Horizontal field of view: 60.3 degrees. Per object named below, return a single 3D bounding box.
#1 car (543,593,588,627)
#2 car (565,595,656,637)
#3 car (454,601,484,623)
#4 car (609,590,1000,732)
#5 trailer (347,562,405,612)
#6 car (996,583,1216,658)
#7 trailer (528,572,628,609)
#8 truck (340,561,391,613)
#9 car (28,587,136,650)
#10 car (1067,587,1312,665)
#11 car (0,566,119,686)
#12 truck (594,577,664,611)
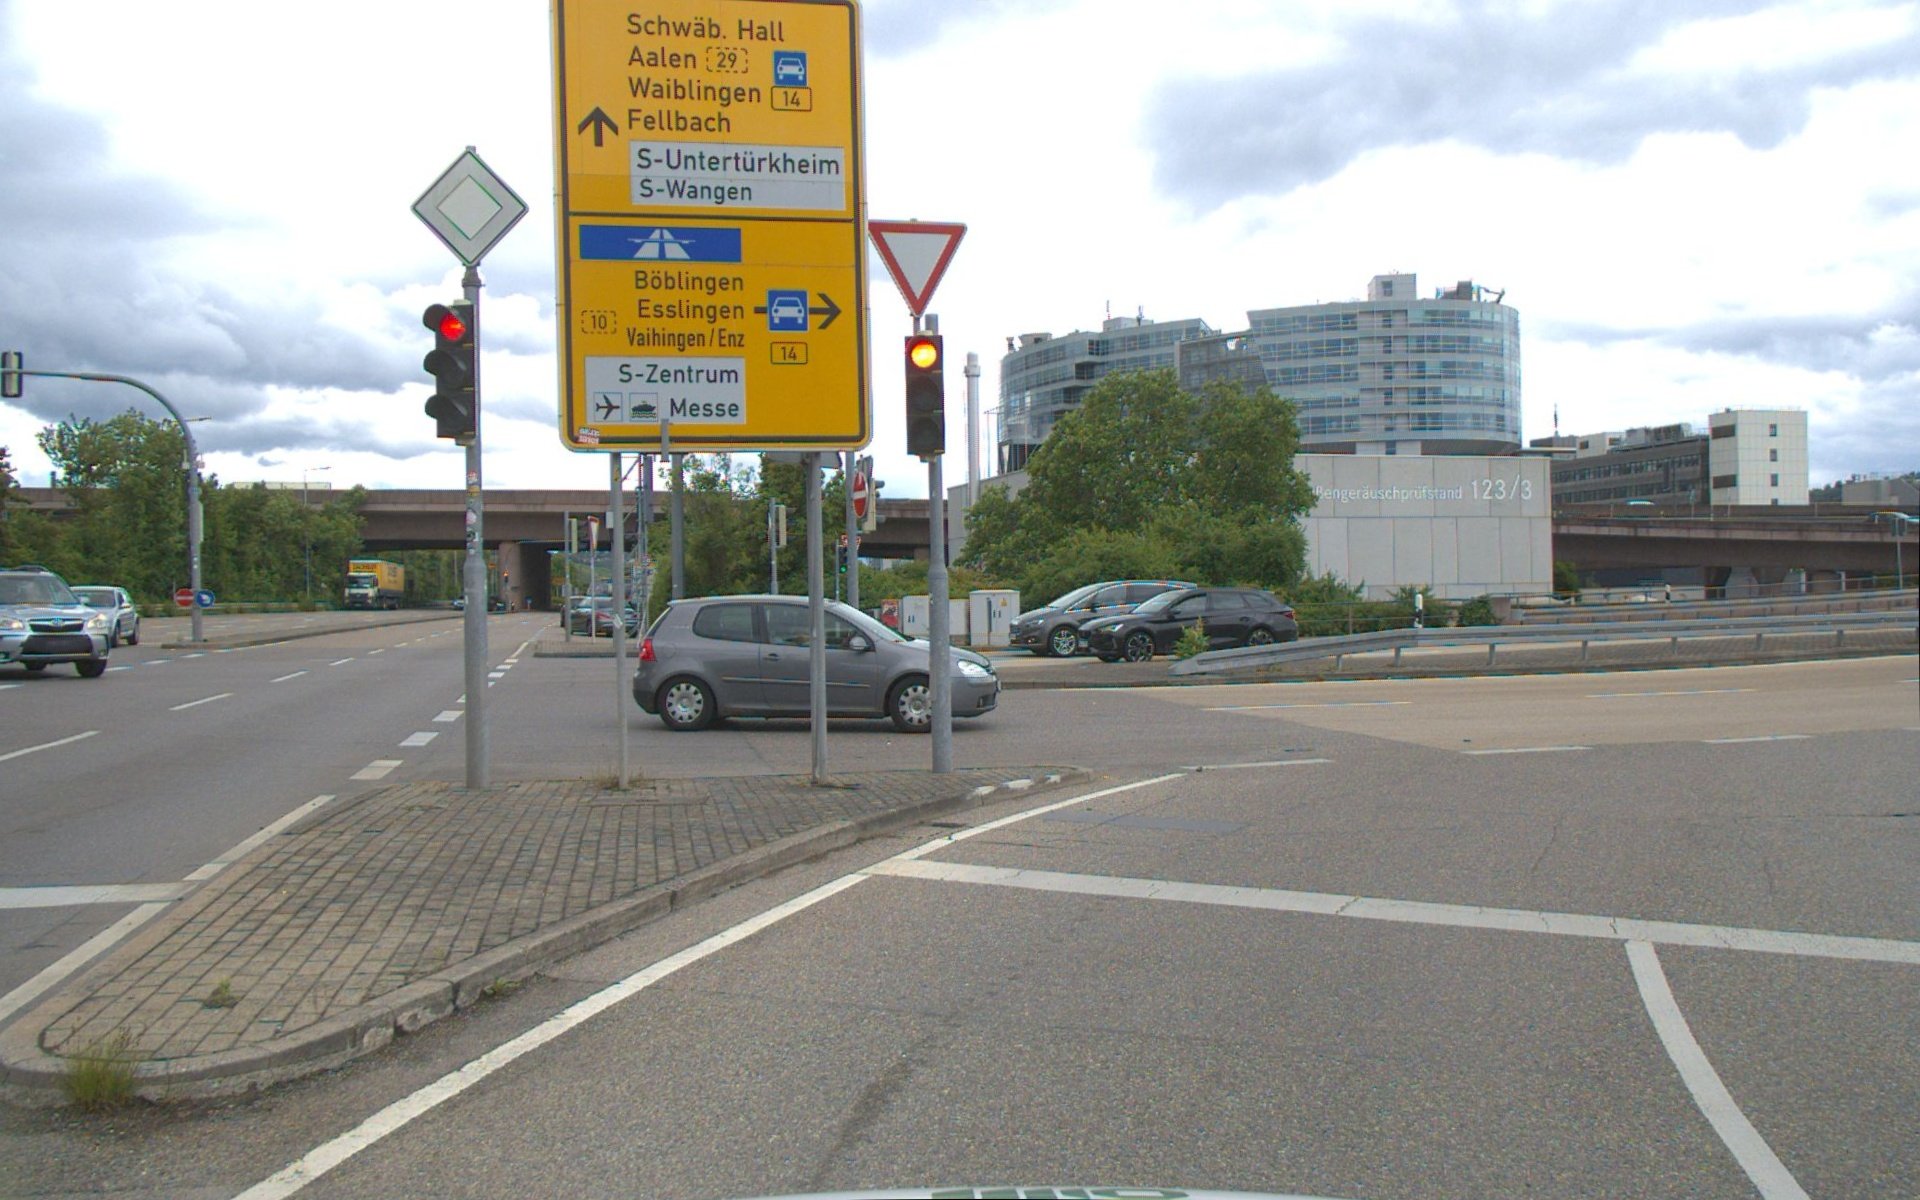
[{"bbox_3d":[-18.564,0.511,77.760,1.960,1.490,4.094,1,-2,-15],"label":"car"},{"bbox_3d":[-12.785,0.610,60.401,1.974,1.467,4.064,2,-2,-32],"label":"car"},{"bbox_3d":[-46.552,1.139,156.750,1.971,1.892,3.964,3,1,-28],"label":"car"},{"bbox_3d":[-1.657,0.645,18.557,4.141,1.487,1.731,0,1,4],"label":"car"},{"bbox_3d":[-51.160,-1.165,145.202,2.819,4.155,11.399,2,0,-10],"label":"trailer"},{"bbox_3d":[3.278,0.426,37.374,4.600,1.599,1.948,0,1,-15],"label":"car"},{"bbox_3d":[-34.032,-0.818,147.634,8.388,2.669,2.603,4,-1,-11],"label":"trailer"},{"bbox_3d":[-50.196,-1.116,139.796,2.820,4.155,6.472,2,0,-10],"label":"truck"},{"bbox_3d":[-21.193,0.414,40.054,1.699,1.425,4.043,-1,1,-20],"label":"car"},{"bbox_3d":[4.630,0.486,33.538,4.530,1.482,1.948,0,1,-16],"label":"car"},{"bbox_3d":[-15.175,0.364,26.326,4.475,1.767,1.719,0,1,42],"label":"car"},{"bbox_3d":[-29.771,-0.520,148.884,5.679,2.669,2.604,4,-1,-22],"label":"truck"}]
